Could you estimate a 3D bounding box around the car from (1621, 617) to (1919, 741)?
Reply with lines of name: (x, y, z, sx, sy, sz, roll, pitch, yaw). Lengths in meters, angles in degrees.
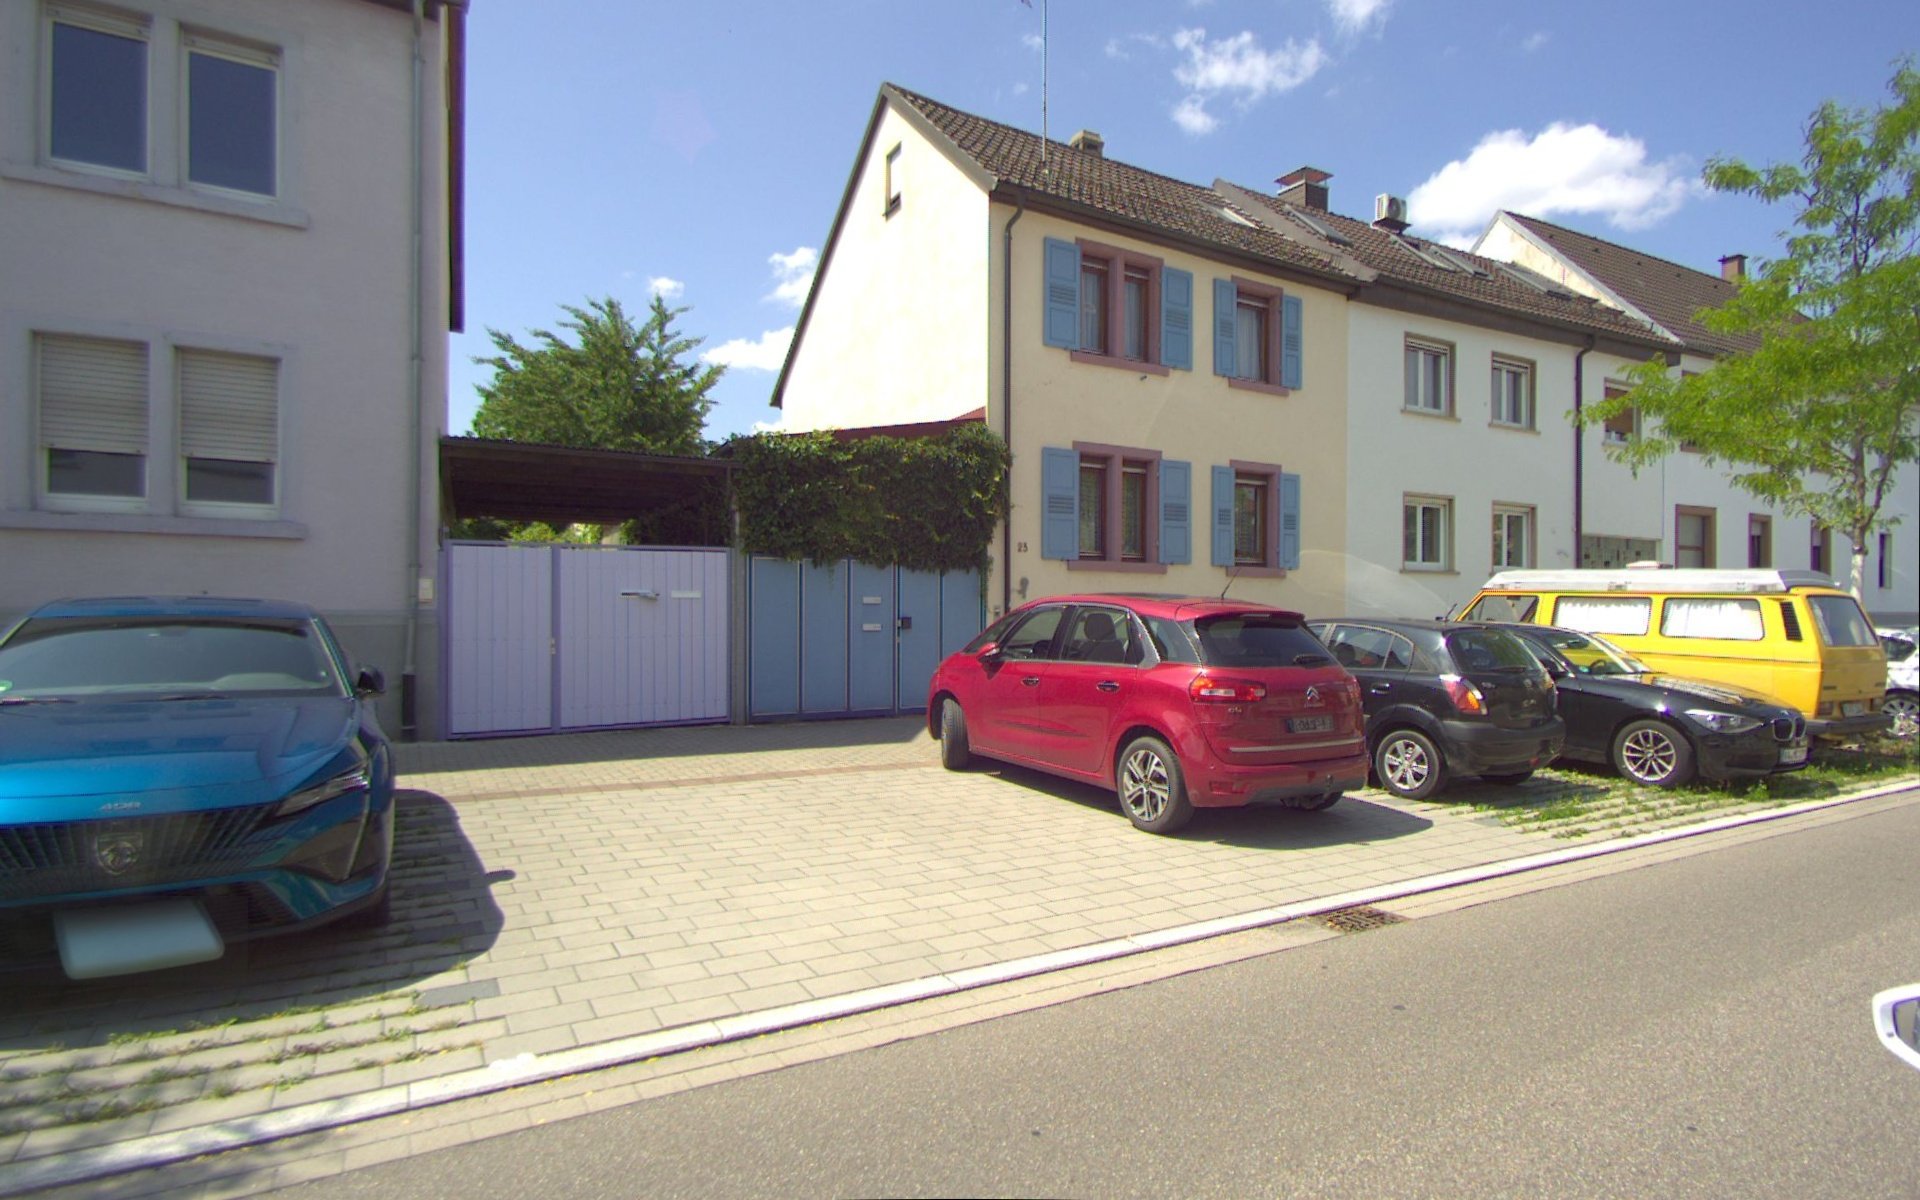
car: (12.051, 1.046, 14.327, 1.738, 1.487, 4.040, 1, 0, -38)

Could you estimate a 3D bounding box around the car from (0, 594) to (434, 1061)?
car: (-4.032, 0.753, 5.362, 1.757, 1.497, 4.377, 1, 0, -33)

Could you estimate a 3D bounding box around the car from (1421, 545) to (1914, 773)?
car: (8.190, 0.563, 12.146, 1.902, 2.206, 4.487, 1, 0, -29)

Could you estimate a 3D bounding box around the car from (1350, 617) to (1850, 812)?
car: (6.257, 0.977, 10.328, 1.734, 1.479, 3.991, 1, 0, -29)

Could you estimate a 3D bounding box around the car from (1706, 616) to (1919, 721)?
car: (14.440, 1.064, 15.957, 1.644, 1.487, 3.849, 2, 0, -38)

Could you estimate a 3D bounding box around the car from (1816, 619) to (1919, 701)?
car: (18.798, 1.160, 18.491, 1.752, 1.487, 4.278, 2, 0, -28)

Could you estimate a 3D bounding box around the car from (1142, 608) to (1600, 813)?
car: (3.689, 0.860, 9.651, 1.736, 1.479, 3.770, 1, 0, -32)

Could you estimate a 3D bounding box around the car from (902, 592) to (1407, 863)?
car: (1.283, 0.776, 8.410, 1.821, 1.633, 4.232, 1, 0, -30)
